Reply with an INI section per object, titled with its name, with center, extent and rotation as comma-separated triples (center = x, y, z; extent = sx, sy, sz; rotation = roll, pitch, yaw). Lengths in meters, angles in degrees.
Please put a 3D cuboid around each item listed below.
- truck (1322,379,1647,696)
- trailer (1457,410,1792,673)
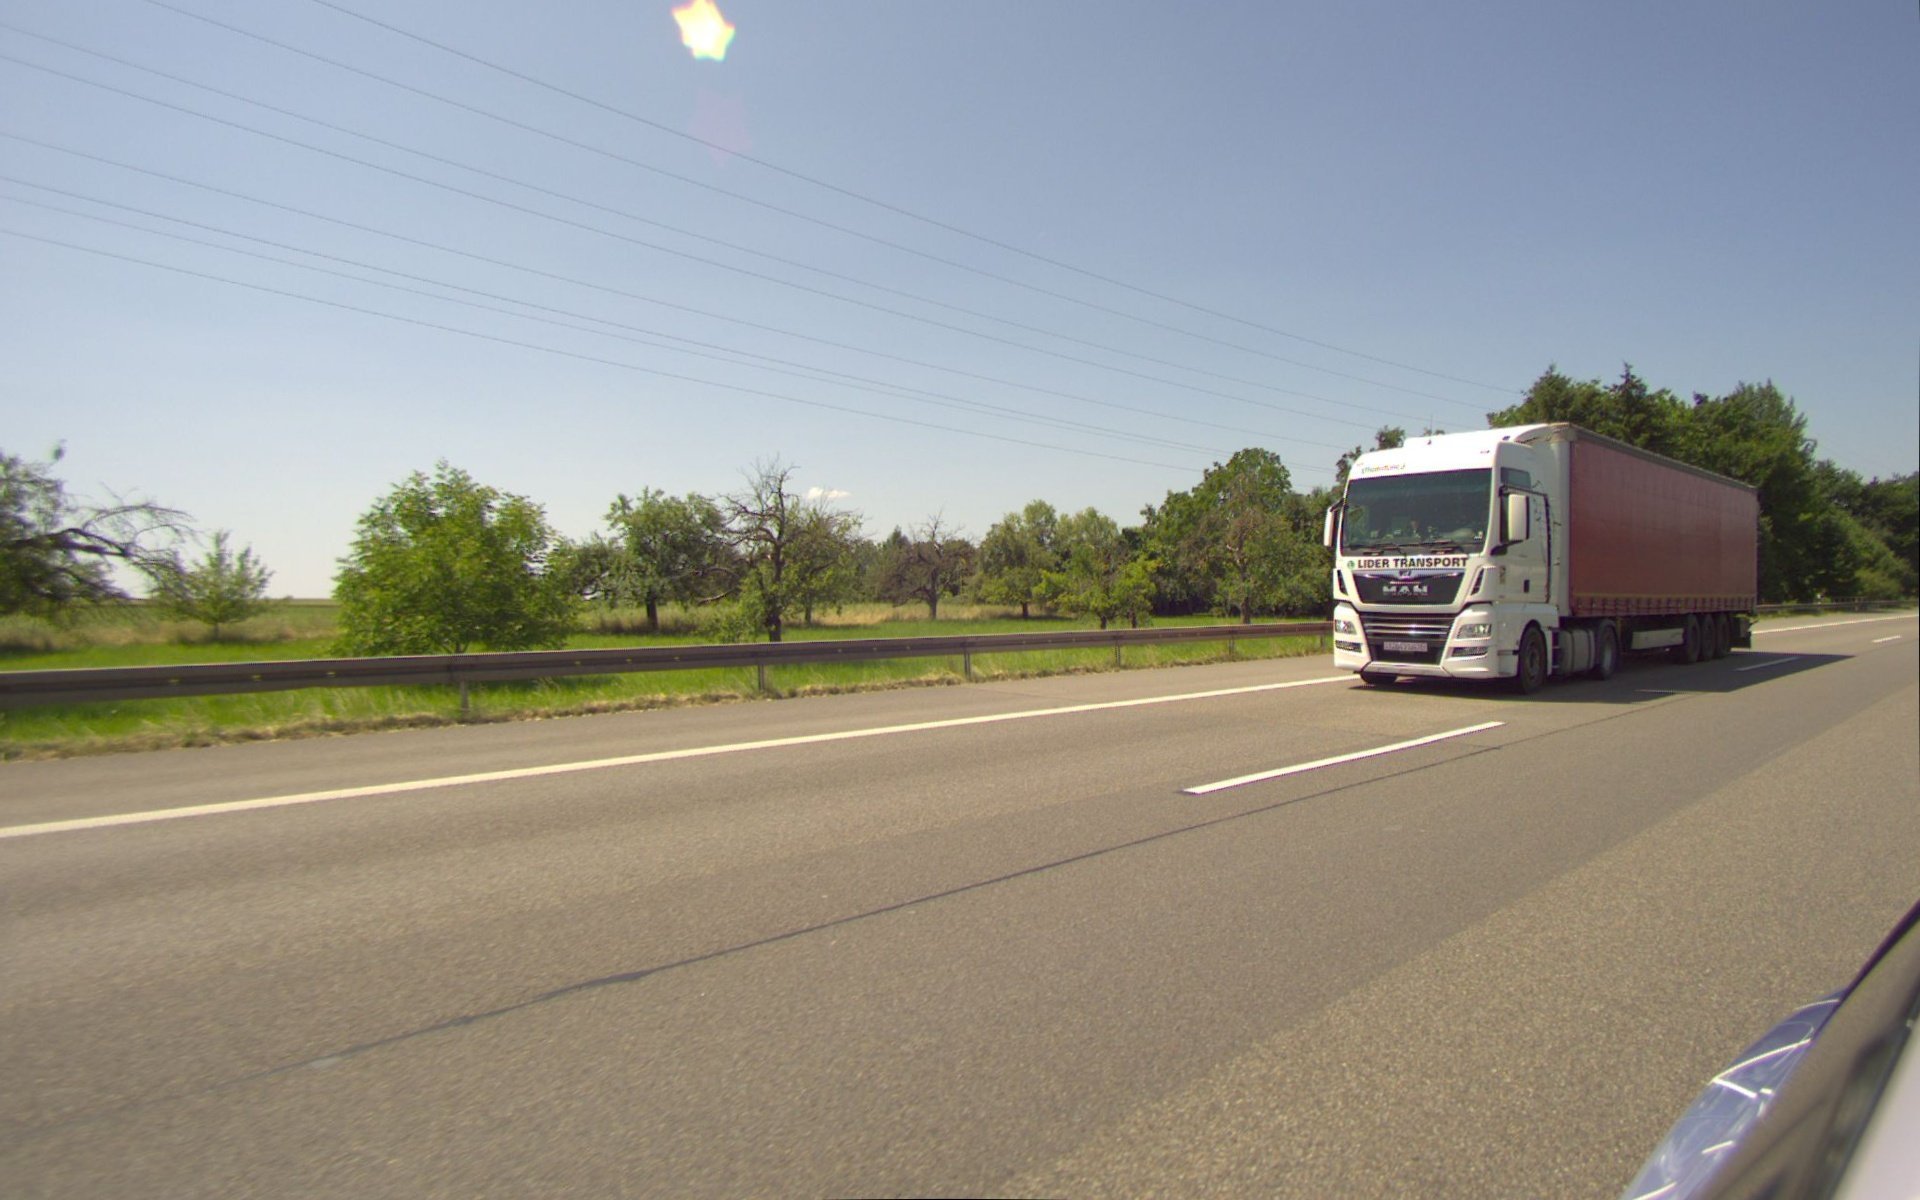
[truck]
center = 8.686, -0.872, 16.439
extent = 6.138, 4.206, 2.566
rotation = -1, 0, -40
[trailer]
center = 14.821, -1.040, 21.758
extent = 12.805, 4.317, 2.605
rotation = -1, 1, -41
